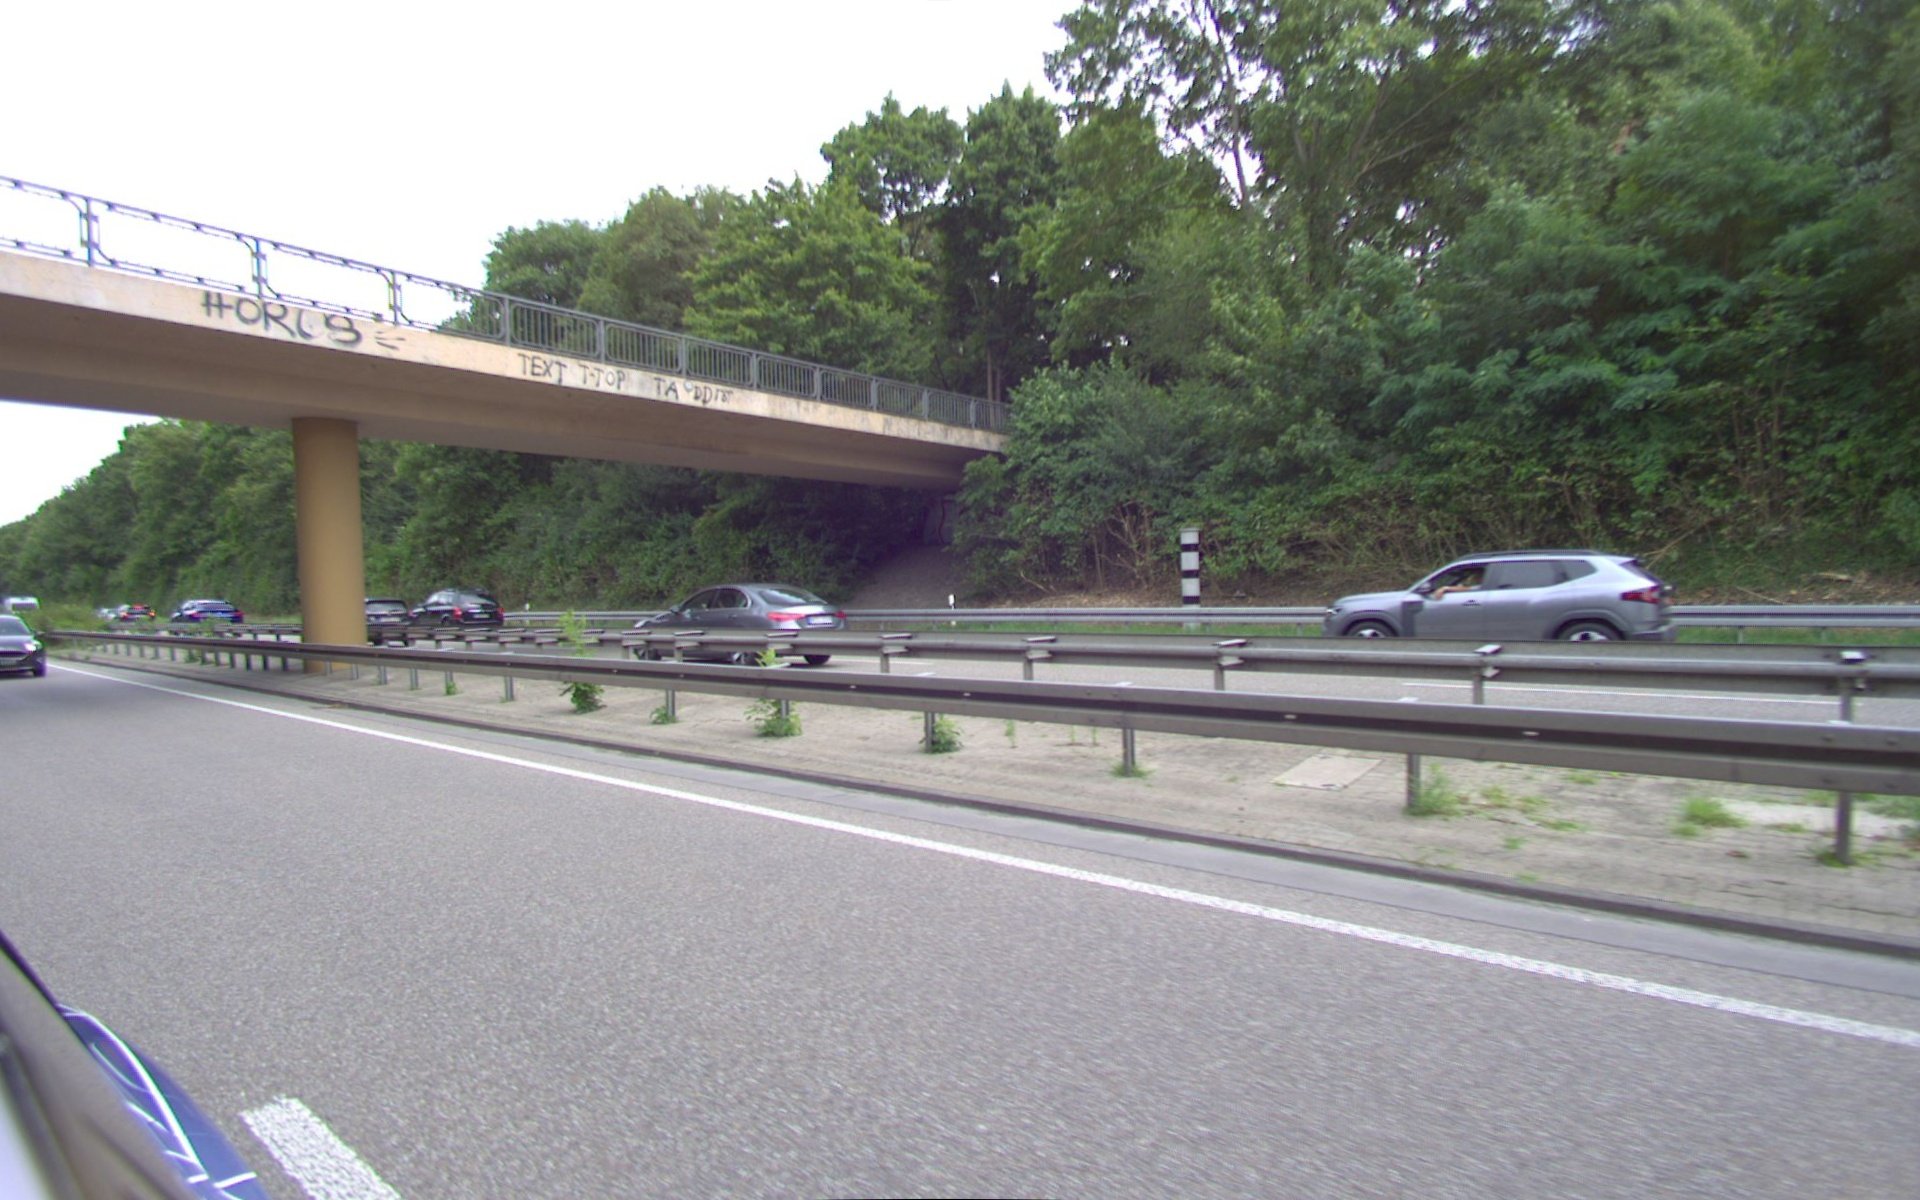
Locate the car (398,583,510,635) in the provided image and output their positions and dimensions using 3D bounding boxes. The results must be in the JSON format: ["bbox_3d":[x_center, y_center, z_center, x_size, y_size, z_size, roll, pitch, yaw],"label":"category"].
[{"bbox_3d":[-17.575,0.273,35.055,4.637,1.699,1.874,0,1,41],"label":"car"}]

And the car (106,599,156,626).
[{"bbox_3d":[-55.339,0.802,67.545,4.637,1.664,1.874,0,1,41],"label":"car"}]

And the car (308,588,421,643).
[{"bbox_3d":[-17.351,0.408,29.432,3.988,1.474,1.671,0,1,41],"label":"car"}]

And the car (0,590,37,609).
[{"bbox_3d":[-82.802,-0.054,88.832,4.637,1.664,2.165,0,1,41],"label":"car"}]

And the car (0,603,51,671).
[{"bbox_3d":[-23.230,0.838,24.098,4.637,1.469,1.807,0,1,41],"label":"car"}]

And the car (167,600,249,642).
[{"bbox_3d":[-32.243,0.848,43.350,4.637,1.664,1.874,0,1,41],"label":"car"}]

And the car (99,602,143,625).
[{"bbox_3d":[-64.232,1.003,77.428,4.637,1.664,1.874,0,1,41],"label":"car"}]

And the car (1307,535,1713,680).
[{"bbox_3d":[7.398,0.071,13.920,4.637,1.664,1.874,0,1,41],"label":"car"}]

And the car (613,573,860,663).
[{"bbox_3d":[-4.054,0.264,17.824,4.934,1.391,1.671,0,1,41],"label":"car"}]
